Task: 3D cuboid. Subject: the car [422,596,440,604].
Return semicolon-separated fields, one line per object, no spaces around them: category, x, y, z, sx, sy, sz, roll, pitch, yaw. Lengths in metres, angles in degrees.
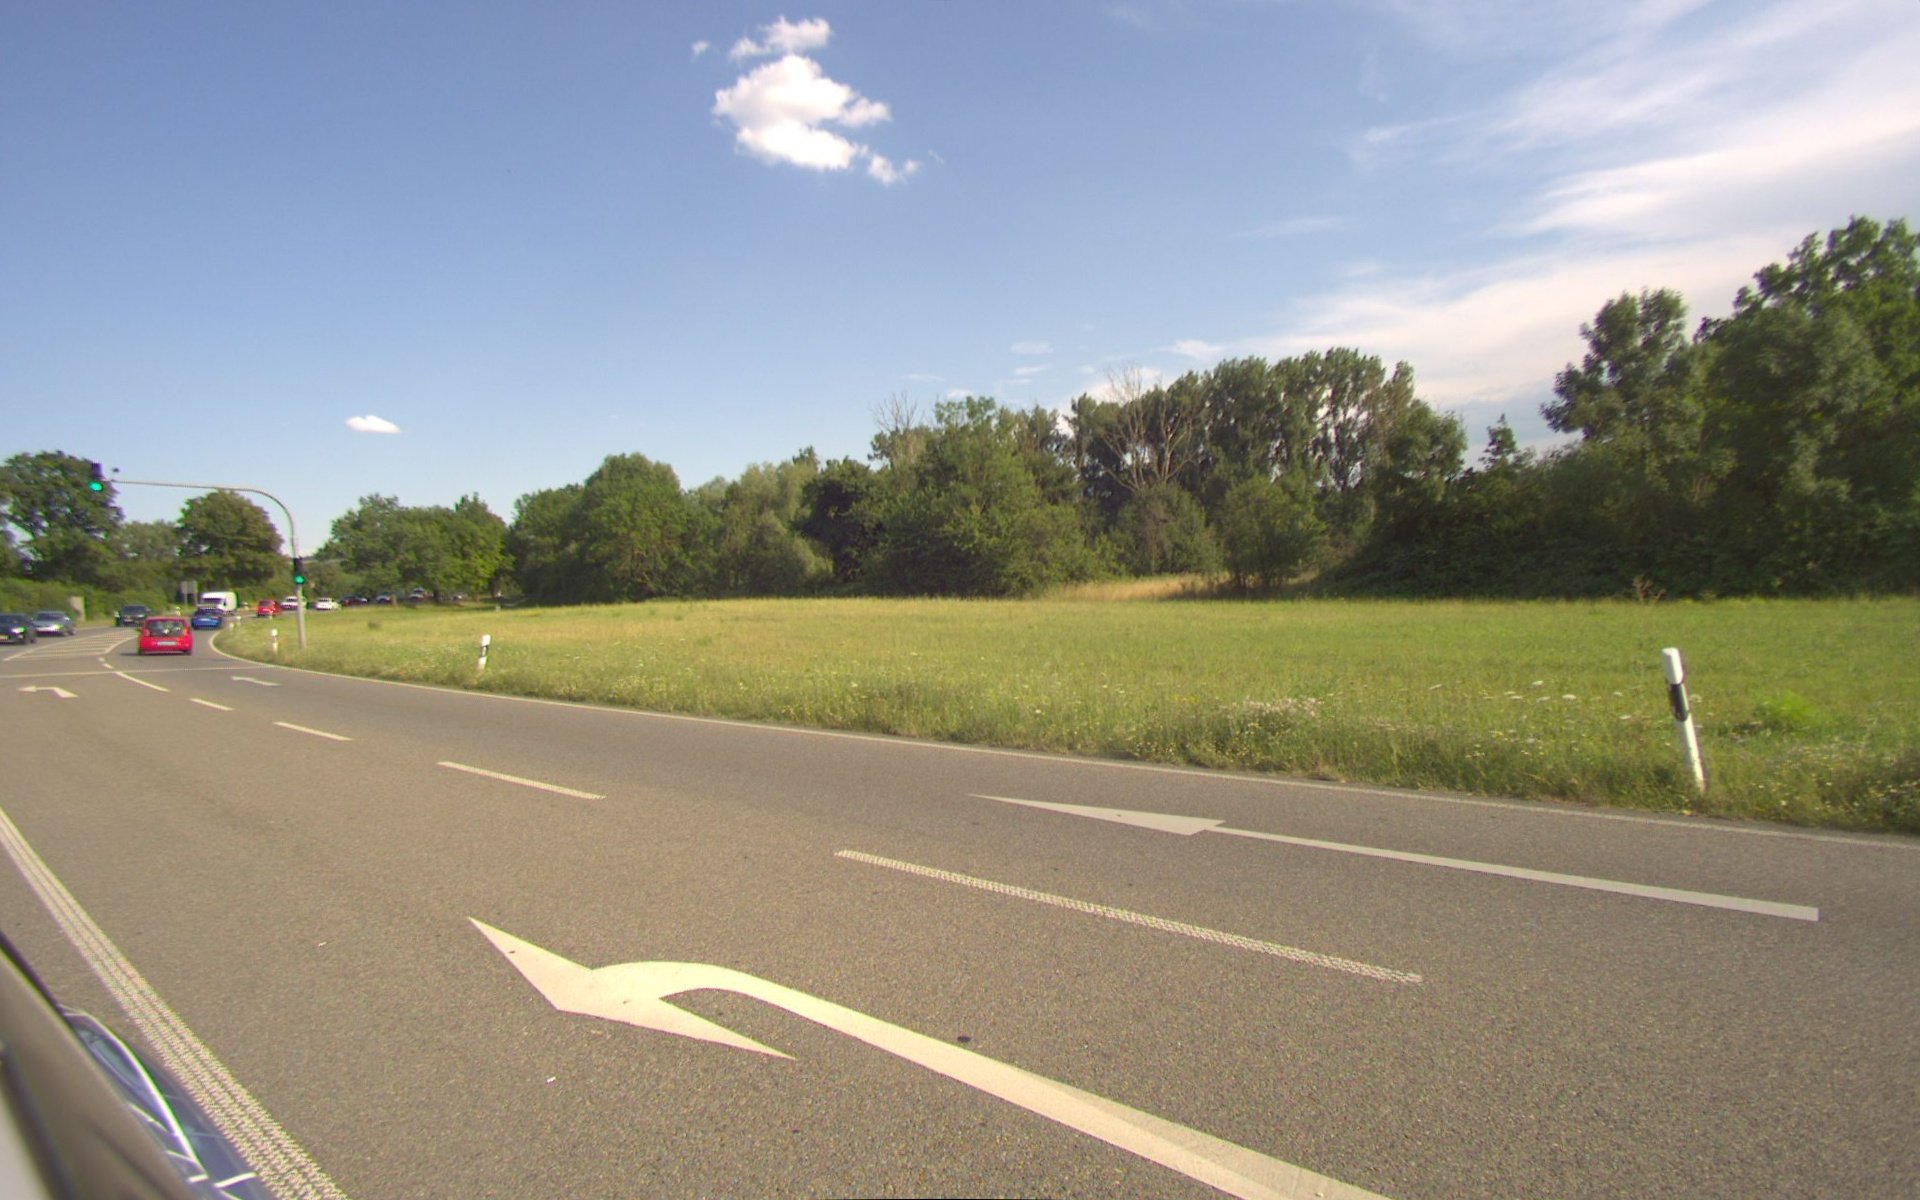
car;-94.990;-0.034;181.837;1.724;1.478;3.485;0;0;-8

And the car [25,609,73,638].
car;-52.490;1.350;58.344;1.609;1.570;3.426;1;0;-35

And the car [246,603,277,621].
car;-72.749;1.230;105.506;1.854;1.789;4.336;0;-1;-24

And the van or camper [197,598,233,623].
van or camper;-77.999;1.041;106.037;2.000;2.494;5.094;-3;1;-25

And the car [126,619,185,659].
car;-31.142;1.486;39.135;1.566;1.478;3.612;1;-2;-42

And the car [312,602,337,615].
car;-83.844;1.126;133.549;1.854;1.598;4.344;0;-1;-20

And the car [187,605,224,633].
car;-52.920;1.370;71.022;1.701;1.897;4.348;0;-2;-32

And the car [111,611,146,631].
car;-64.186;1.643;78.123;1.581;1.490;3.627;1;-2;-32

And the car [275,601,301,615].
car;-88.596;1.046;133.484;1.966;1.563;4.013;-3;2;-20

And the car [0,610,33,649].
car;-45.521;1.375;48.130;1.647;1.741;3.677;0;0;-36
